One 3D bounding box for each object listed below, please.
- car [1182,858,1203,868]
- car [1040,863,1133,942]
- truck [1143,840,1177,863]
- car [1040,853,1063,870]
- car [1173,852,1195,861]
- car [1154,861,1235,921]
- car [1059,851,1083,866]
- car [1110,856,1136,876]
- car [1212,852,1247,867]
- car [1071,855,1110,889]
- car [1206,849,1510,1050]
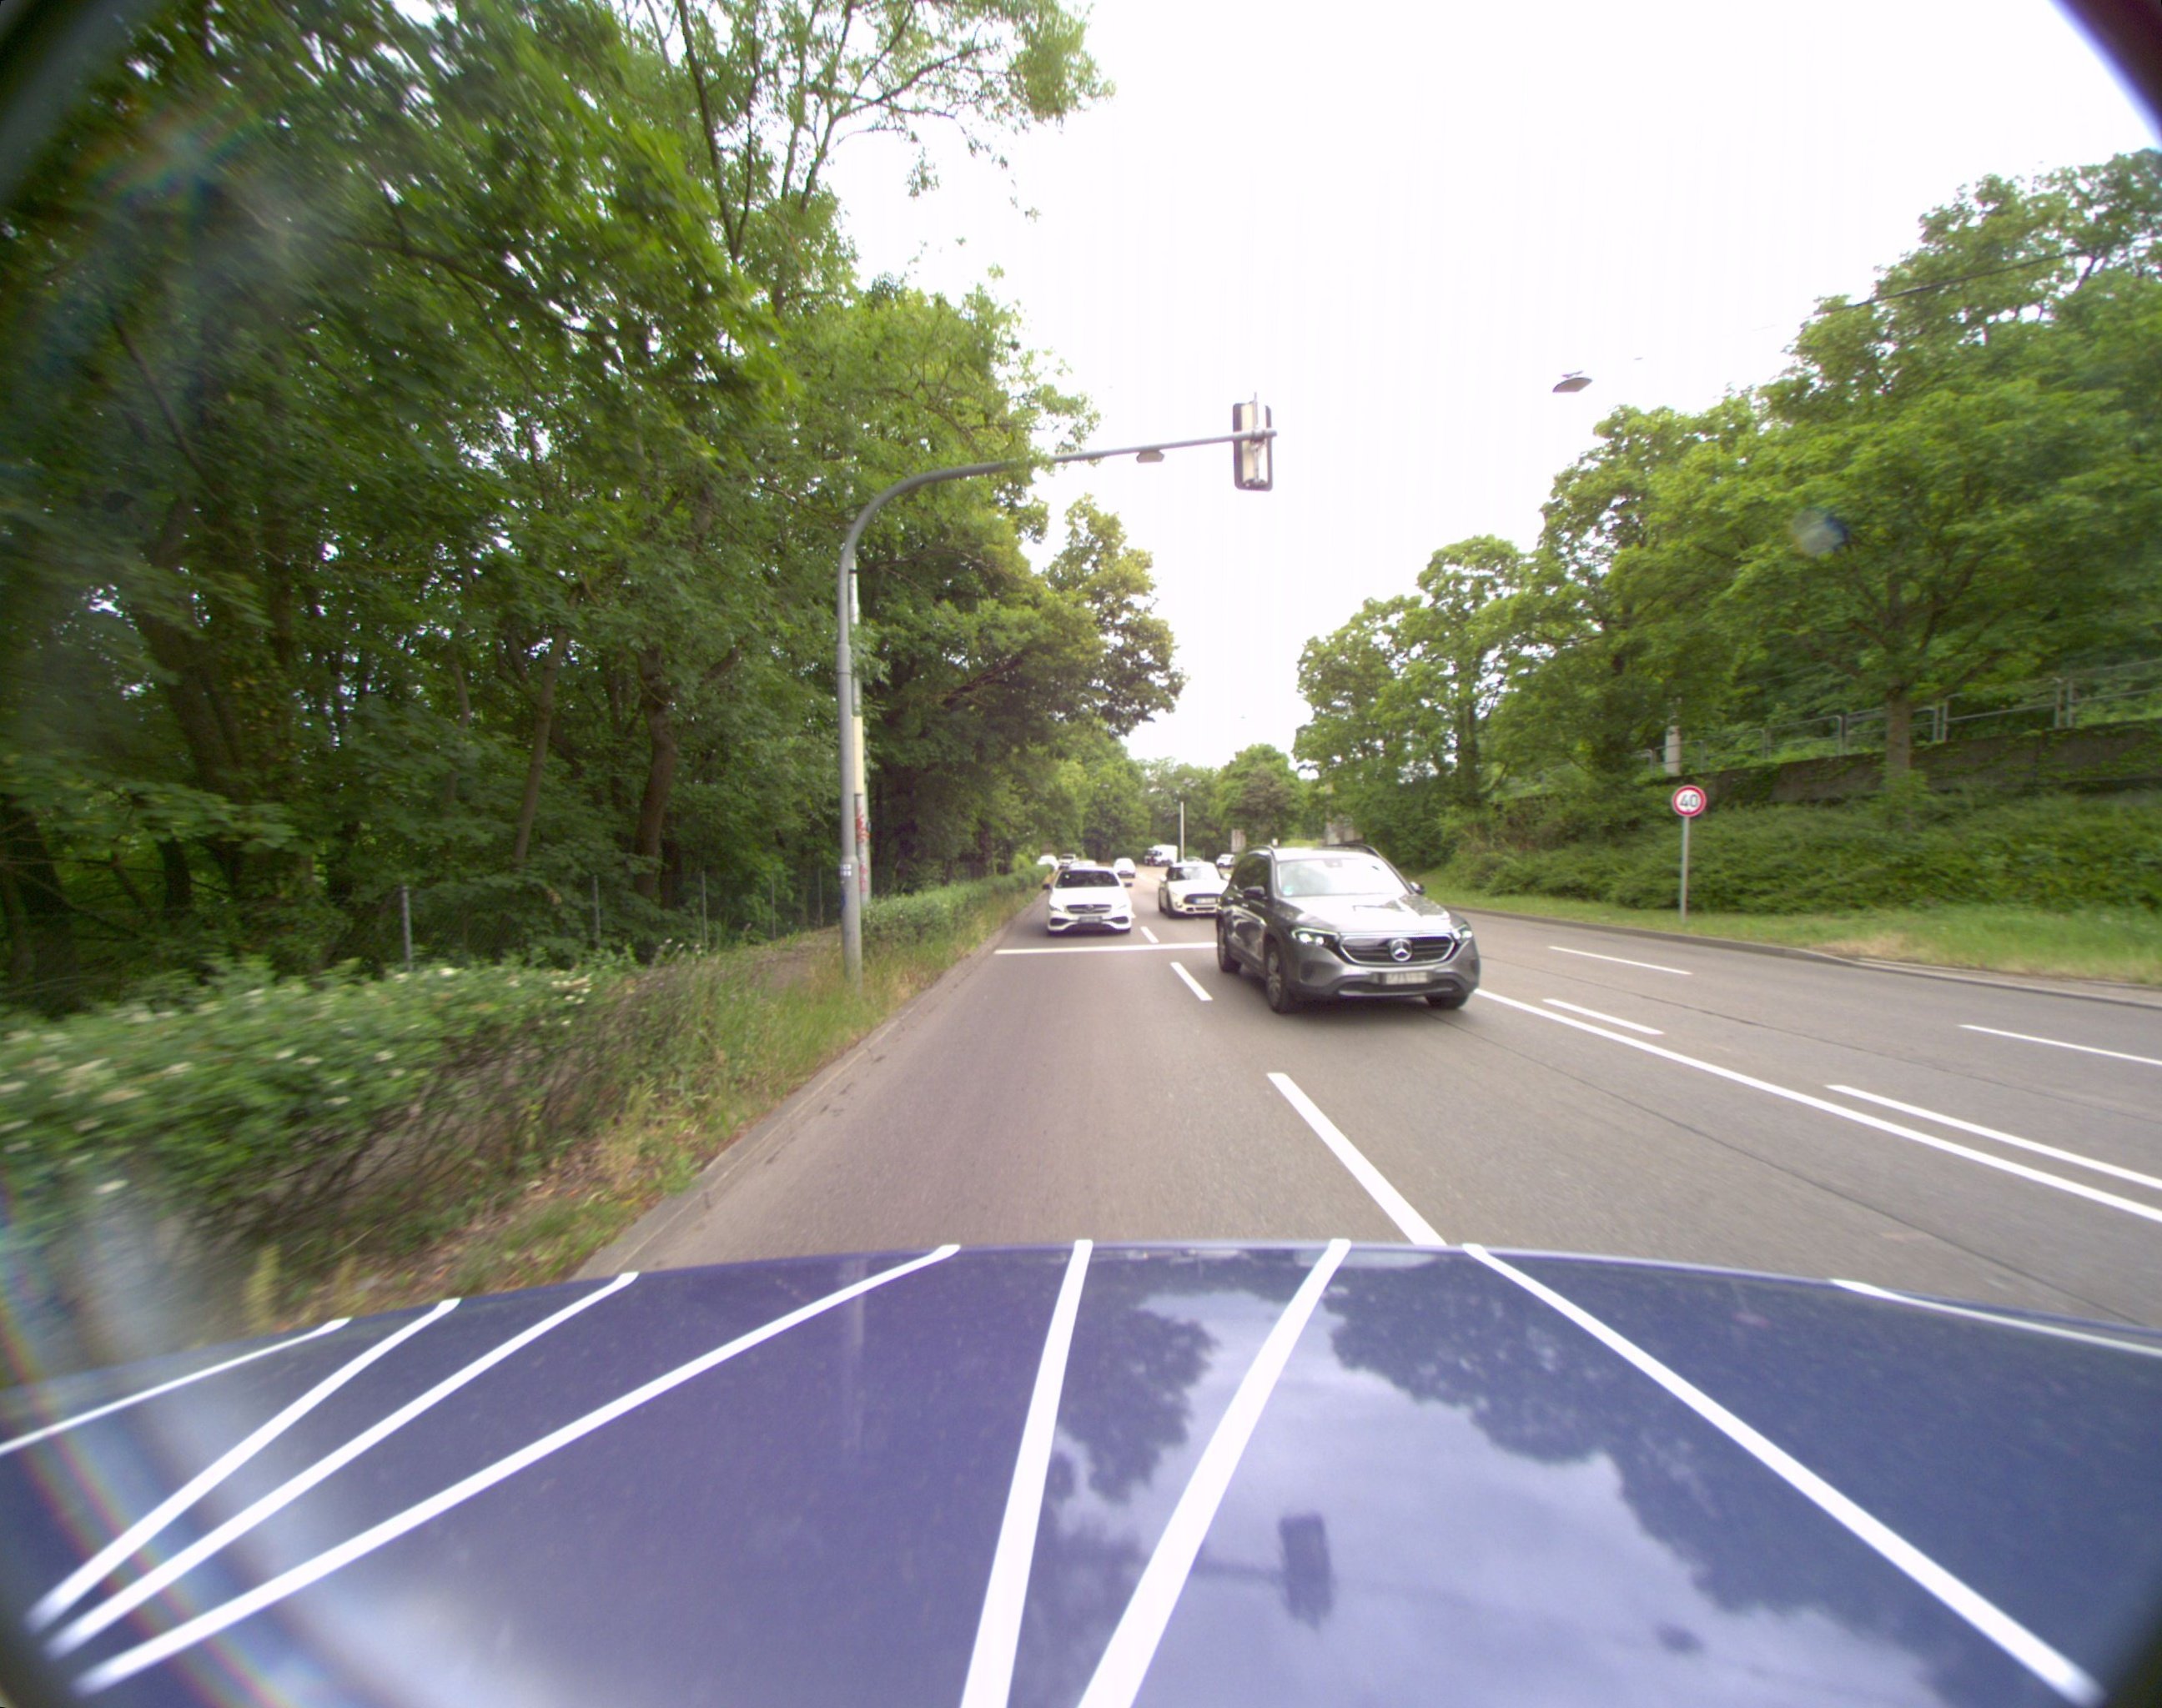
[{"bbox_3d":[16.705,1.293,113.841,1.761,1.433,3.900,2,0,29],"label":"car"},{"bbox_3d":[0.143,1.007,17.252,1.801,1.470,4.010,-2,0,1],"label":"car"},{"bbox_3d":[11.742,-0.328,112.270,2.195,3.137,6.666,2,0,33],"label":"truck"},{"bbox_3d":[-2.478,0.621,65.075,1.765,1.433,3.892,1,0,1],"label":"car"},{"bbox_3d":[16.367,0.432,121.019,1.751,1.354,4.020,4,1,35],"label":"car"},{"bbox_3d":[2.987,0.934,20.667,1.688,1.415,3.733,-1,0,1],"label":"car"},{"bbox_3d":[-1.014,0.479,79.902,1.754,1.575,4.014,1,0,10],"label":"car"},{"bbox_3d":[3.160,0.885,57.327,1.664,1.382,4.183,-1,0,-1],"label":"car"},{"bbox_3d":[23.059,0.777,117.678,2.280,2.187,6.472,-1,0,43],"label":"car"},{"bbox_3d":[0.459,0.839,37.244,1.755,1.417,4.010,3,1,1],"label":"car"},{"bbox_3d":[2.657,0.797,8.488,1.854,1.641,4.358,-1,0,1],"label":"car"}]
